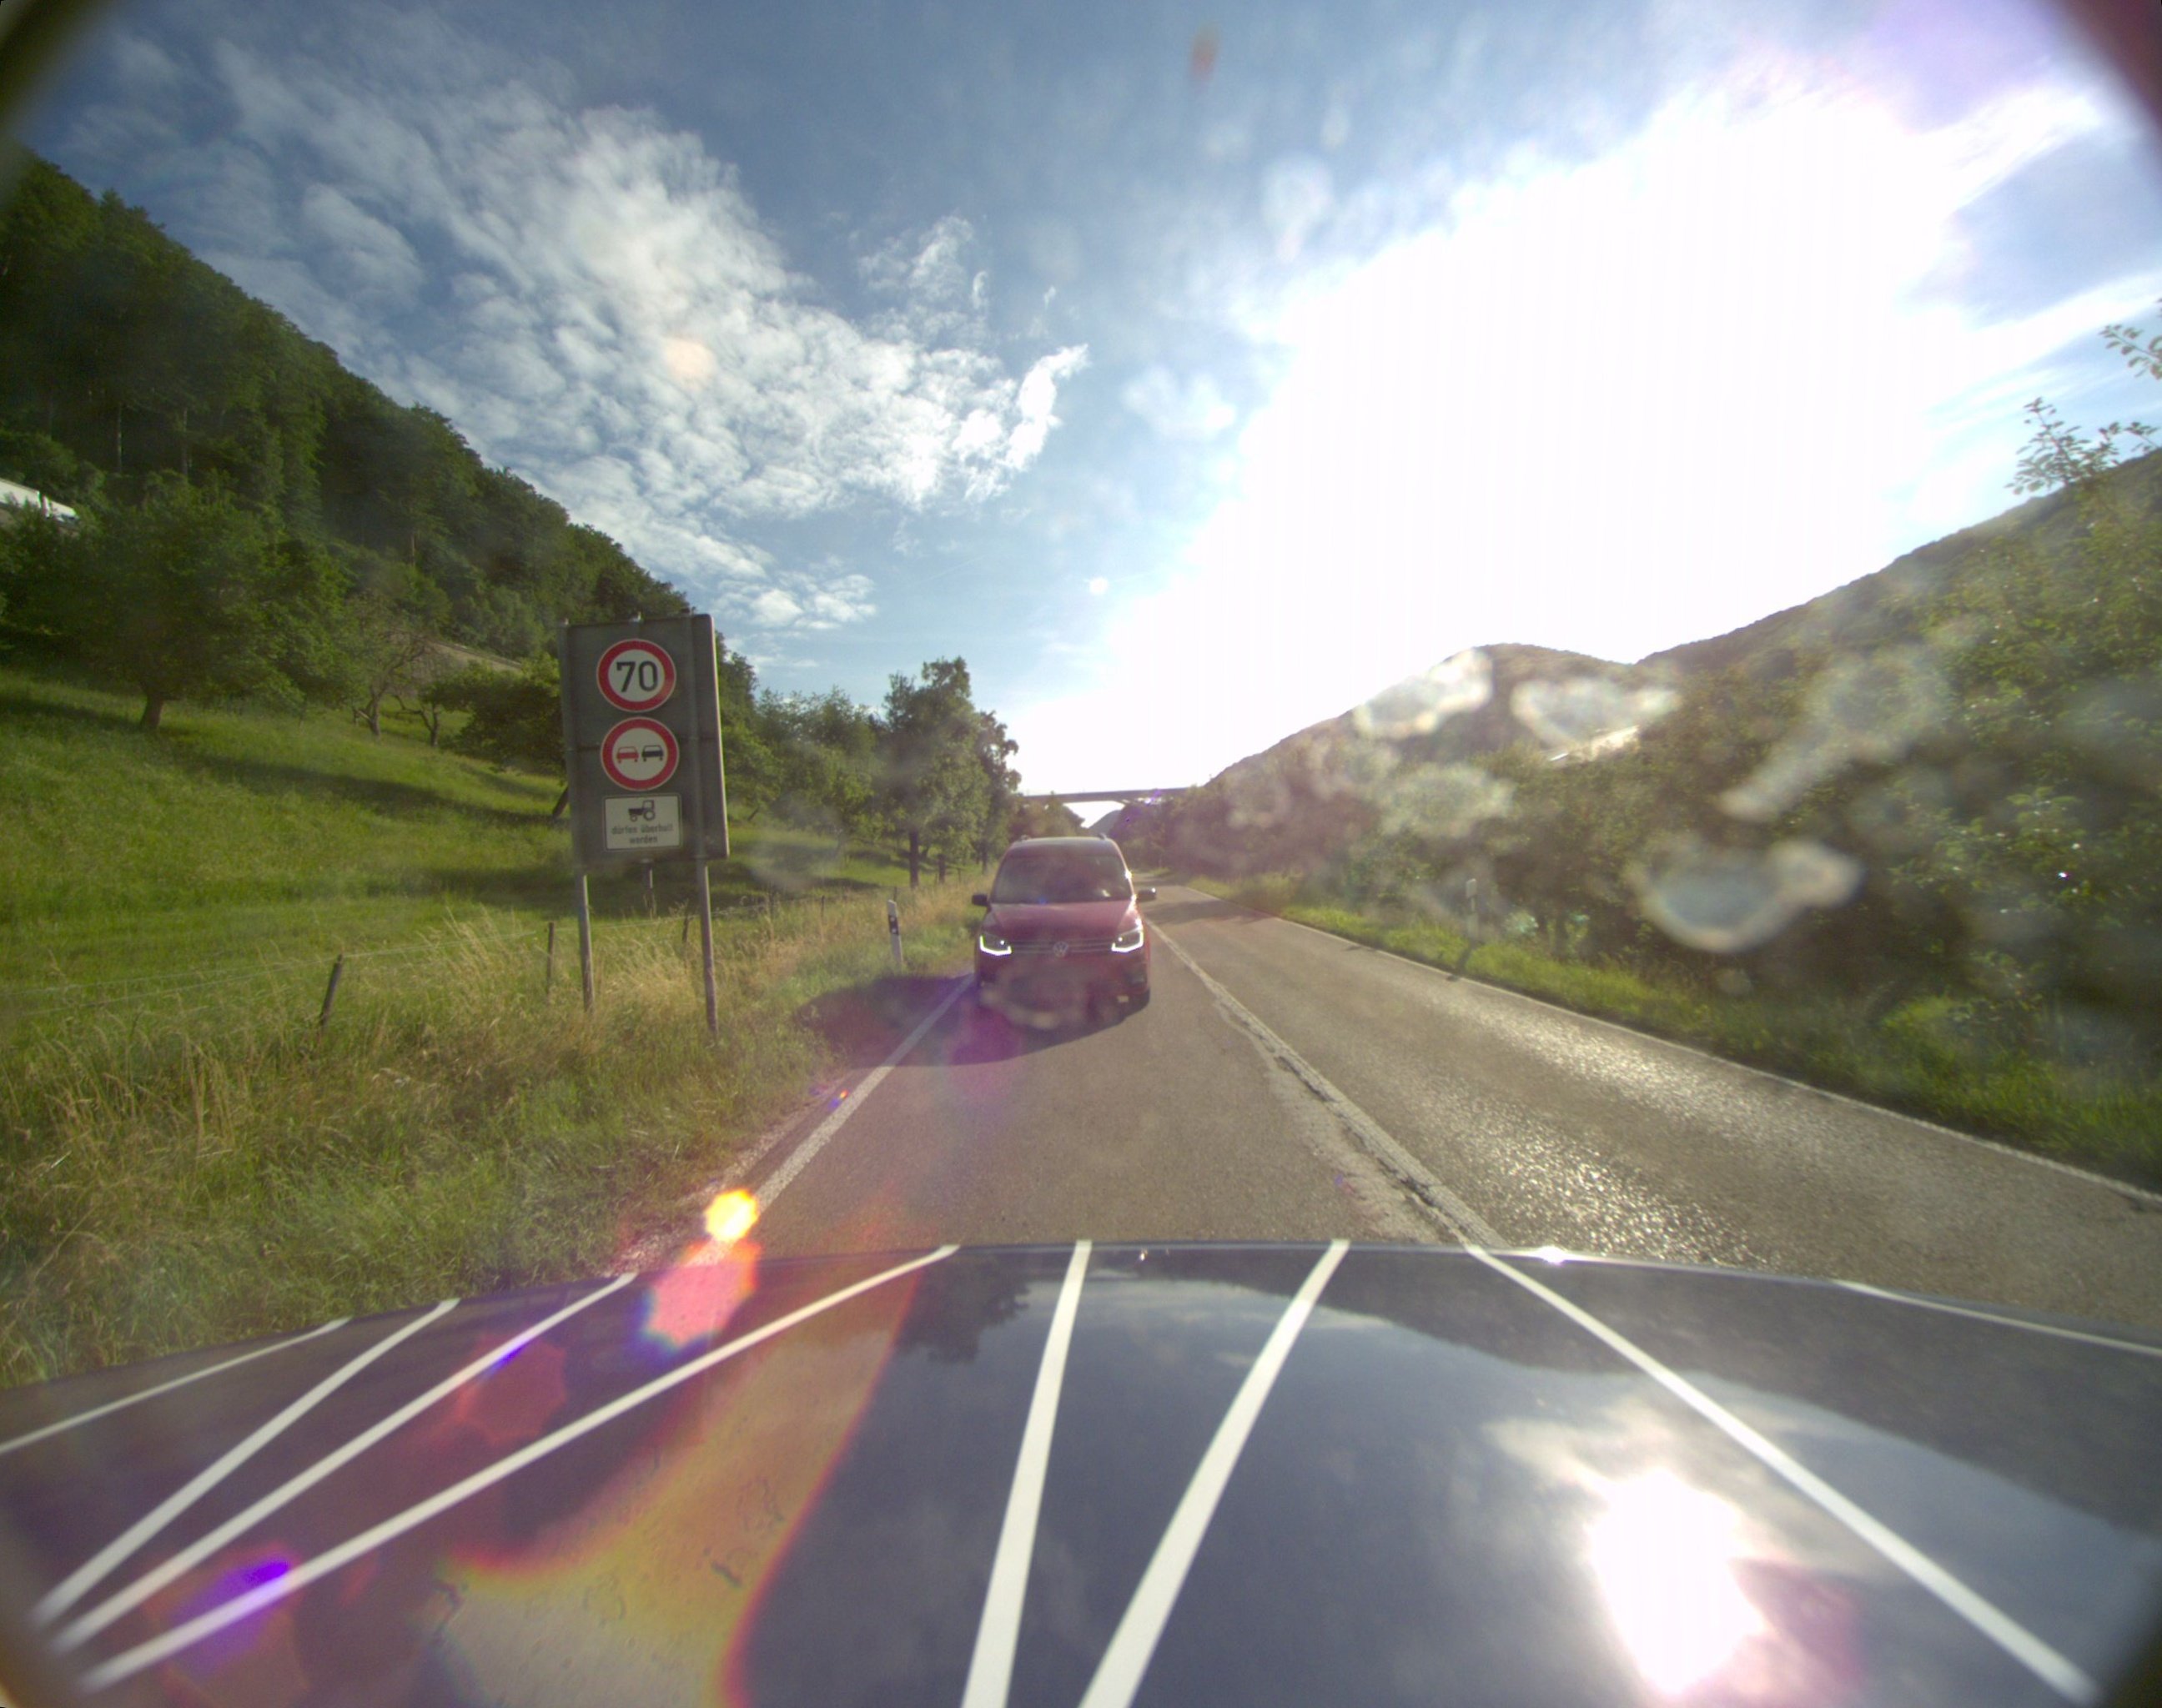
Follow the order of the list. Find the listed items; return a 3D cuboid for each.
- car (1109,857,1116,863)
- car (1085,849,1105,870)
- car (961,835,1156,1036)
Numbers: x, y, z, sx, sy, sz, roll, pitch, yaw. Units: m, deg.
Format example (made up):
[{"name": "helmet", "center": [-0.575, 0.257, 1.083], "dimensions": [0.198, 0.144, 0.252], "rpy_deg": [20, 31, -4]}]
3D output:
[{"name": "car", "center": [7.736, 1.426, 188.332], "dimensions": [1.696, 1.401, 3.663], "rpy_deg": [-1, 0, 1]}, {"name": "car", "center": [1.488, 0.555, 79.584], "dimensions": [1.998, 2.002, 3.999], "rpy_deg": [-2, 1, 1]}, {"name": "car", "center": [-0.224, 0.753, 8.949], "dimensions": [1.741, 1.803, 4.000], "rpy_deg": [-1, 0, -1]}]
